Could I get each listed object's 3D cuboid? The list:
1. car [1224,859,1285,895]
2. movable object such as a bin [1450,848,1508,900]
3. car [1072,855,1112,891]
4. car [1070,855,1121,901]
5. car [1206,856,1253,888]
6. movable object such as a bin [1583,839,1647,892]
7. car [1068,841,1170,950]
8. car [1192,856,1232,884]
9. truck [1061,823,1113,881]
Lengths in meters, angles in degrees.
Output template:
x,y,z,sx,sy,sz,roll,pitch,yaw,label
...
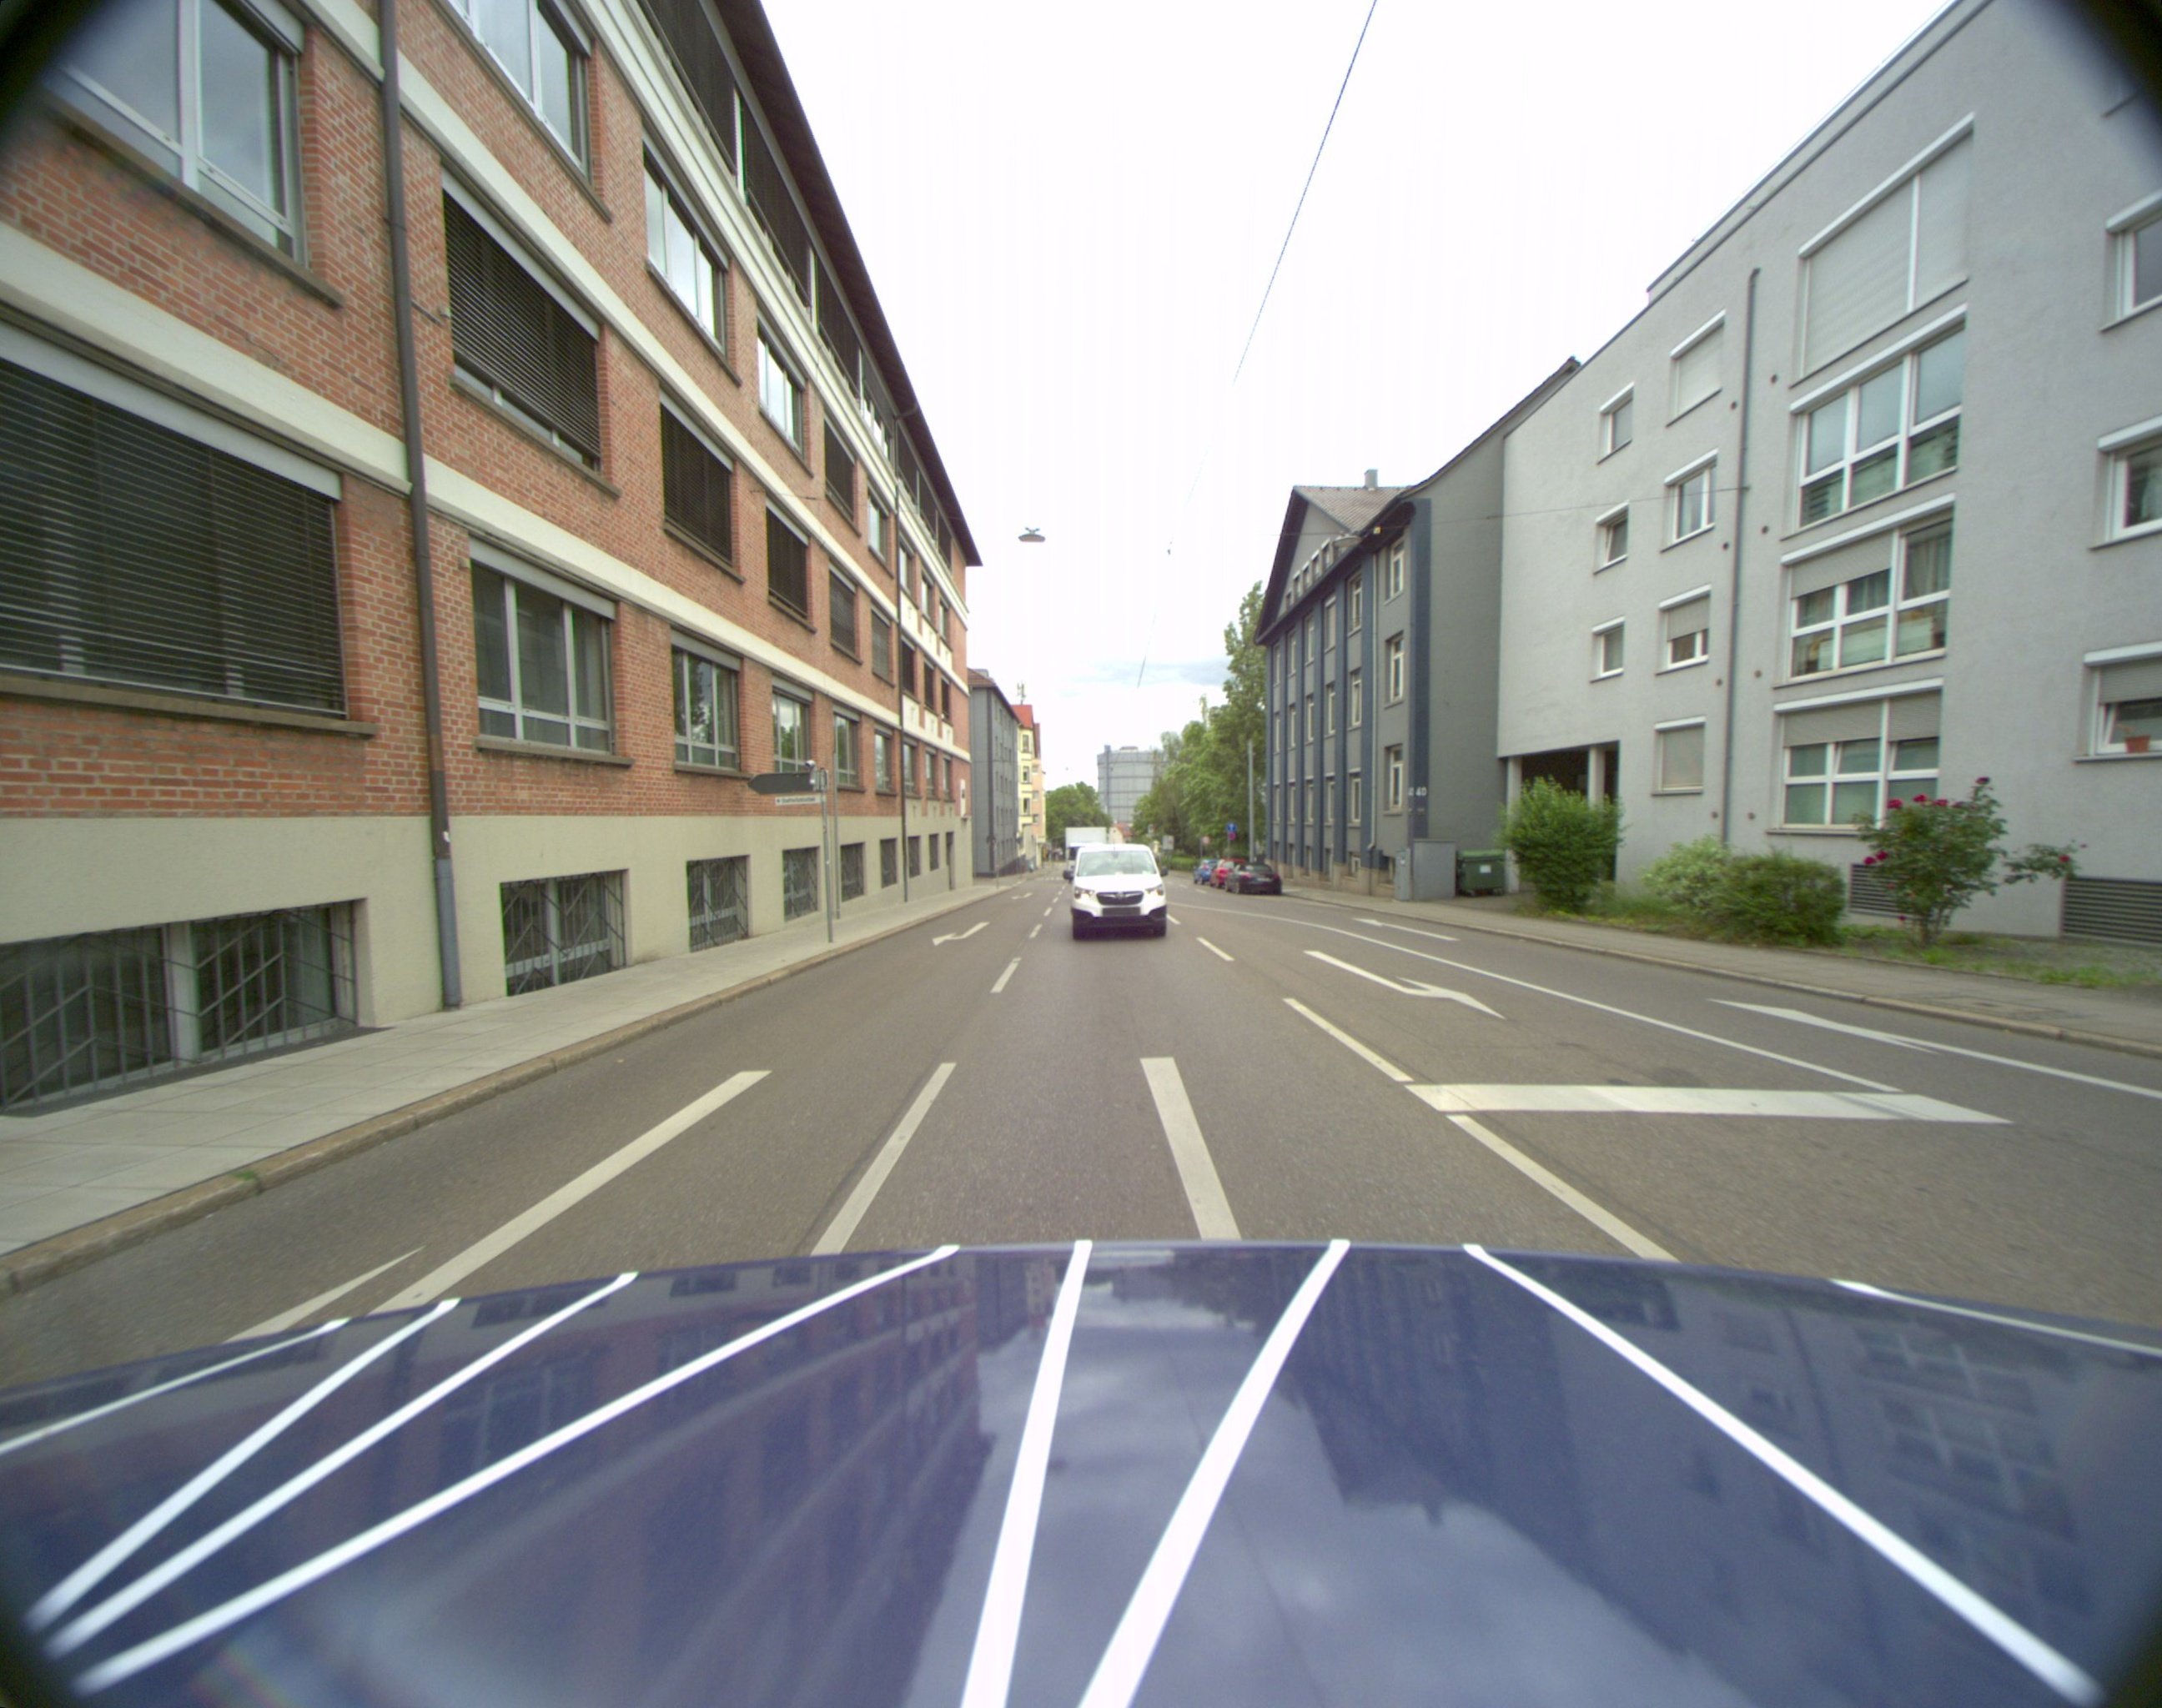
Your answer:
x,y,z,sx,sy,sz,roll,pitch,yaw,label
7.360,0.933,32.518,1.801,1.384,3.729,0,1,1,car
12.205,0.596,23.339,1.229,1.498,1.040,-2,1,1,movable object such as a bin
0.514,0.852,35.642,1.739,1.519,4.000,-2,0,1,car
0.525,0.841,28.407,1.739,1.519,4.000,-2,0,1,car
7.503,0.880,38.644,1.644,1.441,3.729,-2,0,1,car
15.039,0.309,21.436,1.039,1.408,1.078,-2,1,0,movable object such as a bin
0.700,0.718,15.520,1.739,1.875,4.000,-2,1,1,car
7.565,0.897,44.083,1.644,1.441,3.729,-2,0,1,car
0.422,-0.139,50.068,2.969,3.409,8.879,-2,0,1,truck
